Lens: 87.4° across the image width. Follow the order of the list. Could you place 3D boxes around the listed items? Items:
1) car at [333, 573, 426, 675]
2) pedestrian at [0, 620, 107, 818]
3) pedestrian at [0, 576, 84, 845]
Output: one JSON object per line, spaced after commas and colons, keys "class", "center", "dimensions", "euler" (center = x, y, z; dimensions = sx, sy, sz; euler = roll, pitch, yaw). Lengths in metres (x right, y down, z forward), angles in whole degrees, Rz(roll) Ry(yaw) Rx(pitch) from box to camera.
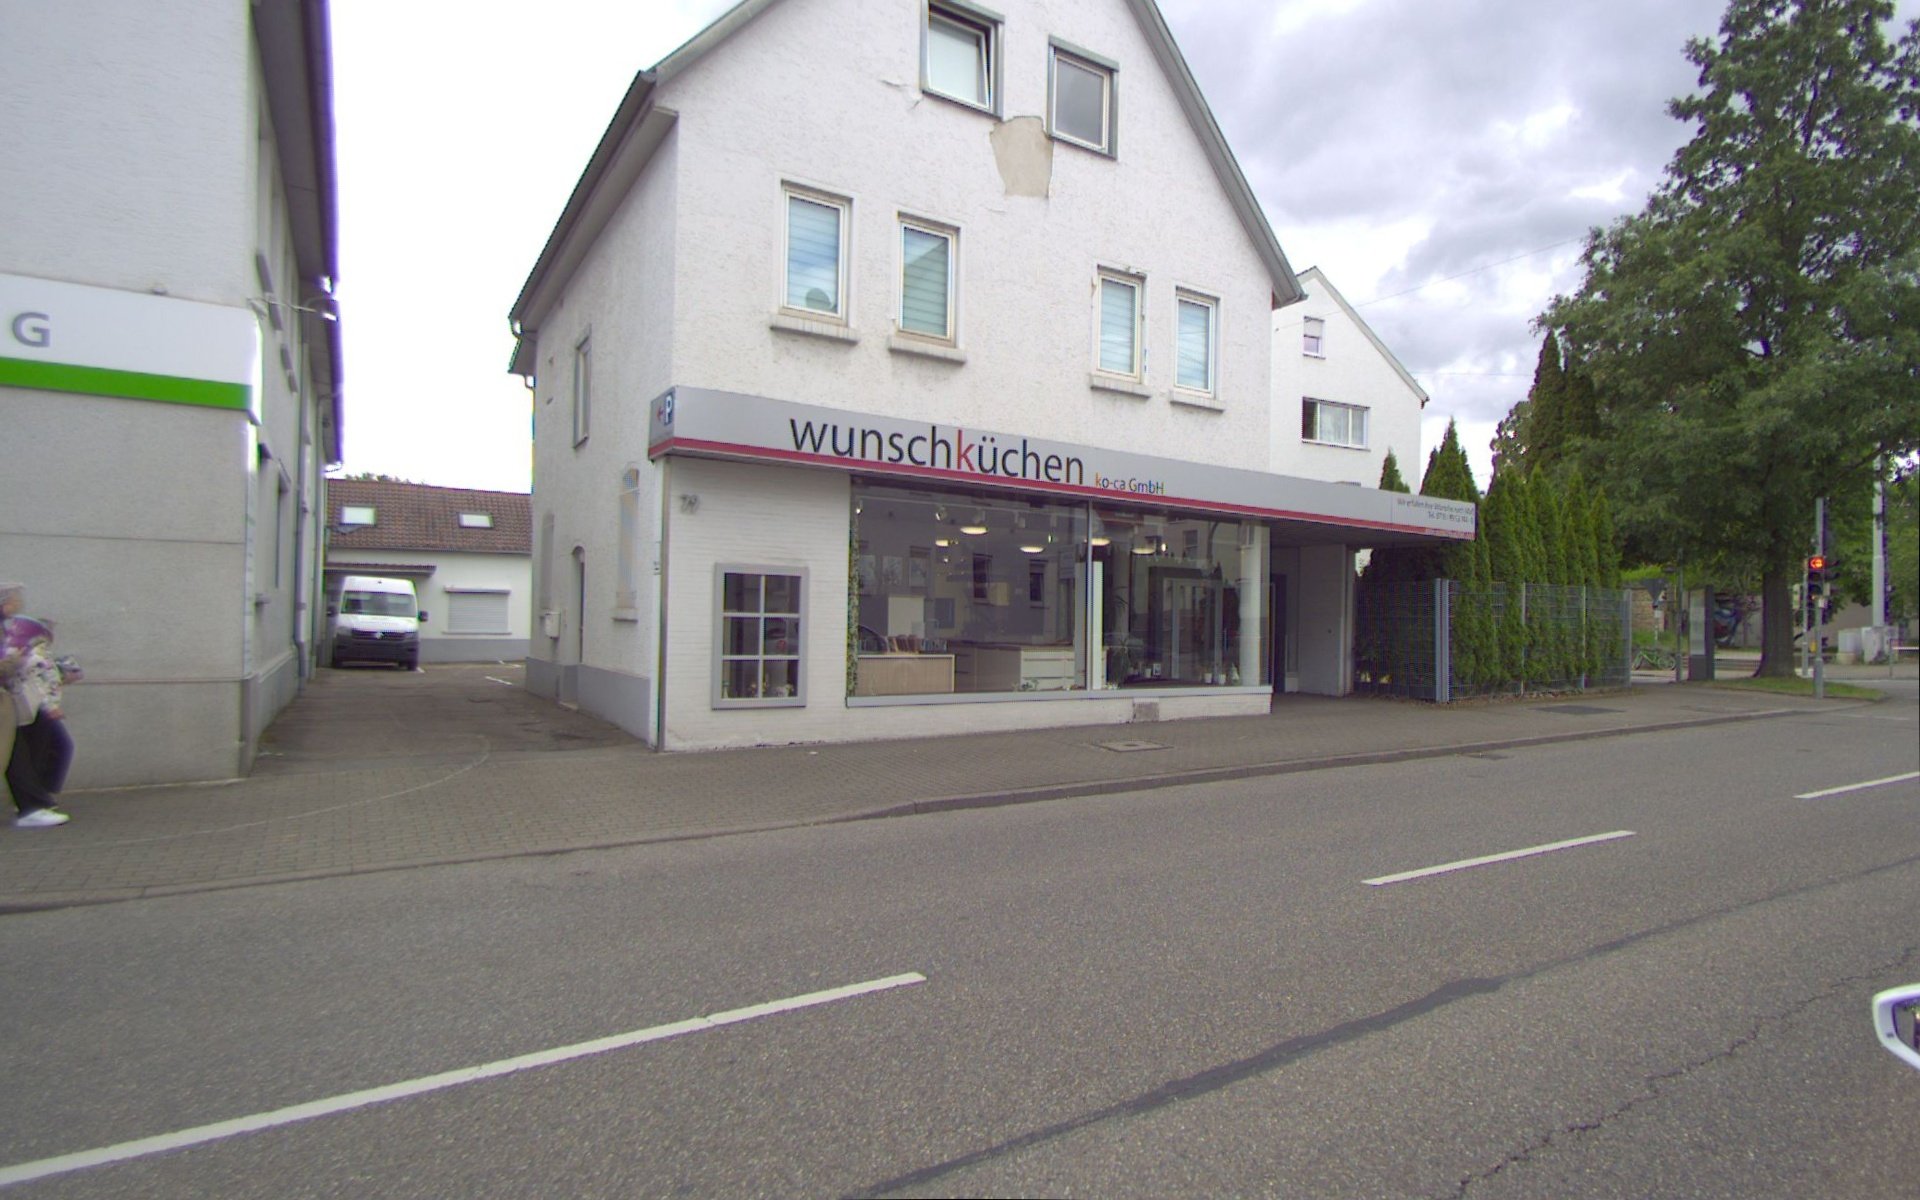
{"class": "car", "center": [-16.642, 0.639, 28.680], "dimensions": [1.938, 2.541, 5.943], "euler": [4, -2, -32]}
{"class": "pedestrian", "center": [-6.460, 0.803, 7.017], "dimensions": [0.647, 1.297, 0.596], "euler": [1, 1, -31]}
{"class": "pedestrian", "center": [-6.230, 0.675, 6.436], "dimensions": [0.784, 1.638, 0.747], "euler": [1, 2, -31]}
